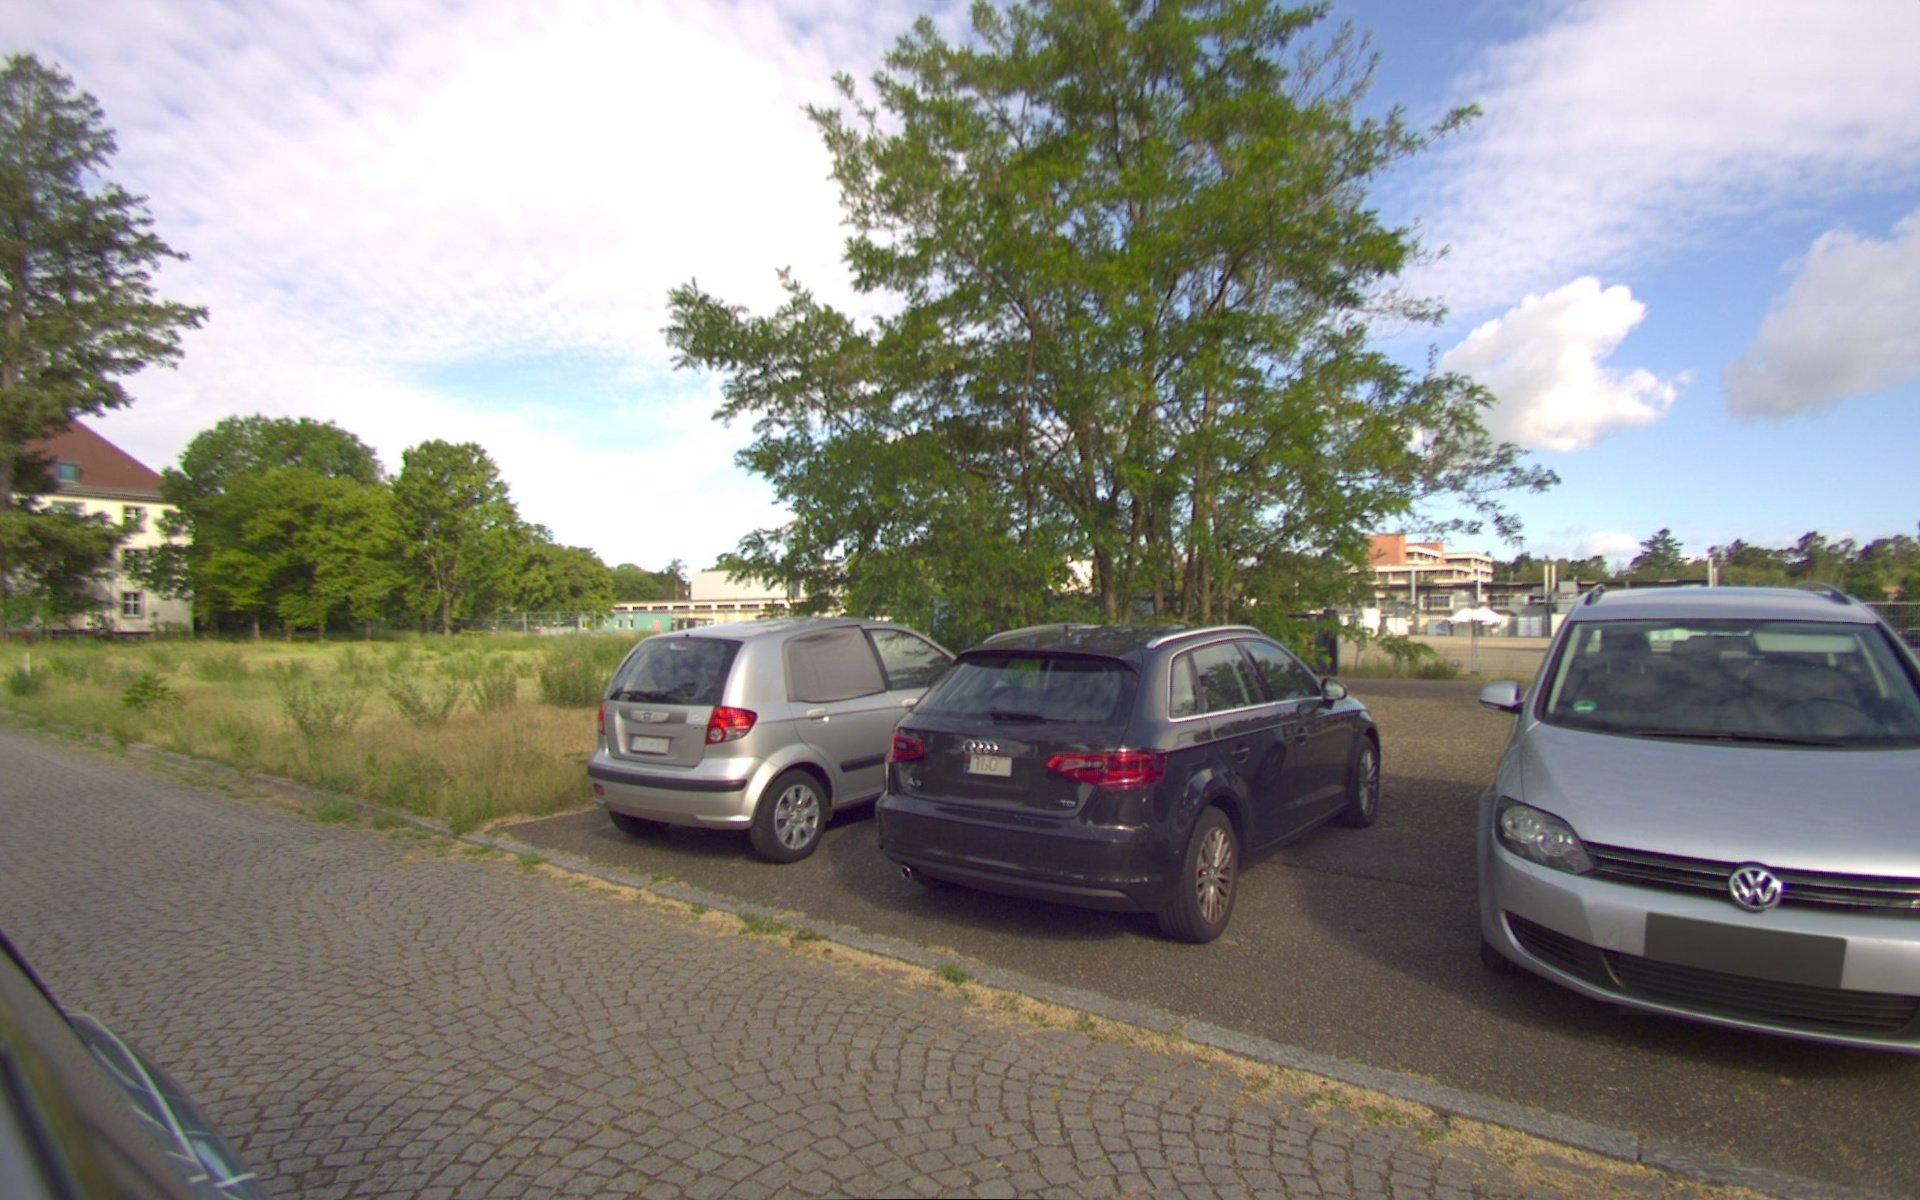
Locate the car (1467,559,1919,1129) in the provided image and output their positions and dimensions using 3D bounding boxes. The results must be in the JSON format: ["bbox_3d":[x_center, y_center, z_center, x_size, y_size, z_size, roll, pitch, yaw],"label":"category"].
[{"bbox_3d":[3.575,0.662,4.587,1.731,1.619,3.798,-1,0,35],"label":"car"}]

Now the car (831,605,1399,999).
[{"bbox_3d":[1.193,0.804,5.953,1.693,1.419,3.801,-1,1,37],"label":"car"}]

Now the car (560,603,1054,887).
[{"bbox_3d":[-0.906,0.825,7.570,1.643,1.487,3.546,-1,1,35],"label":"car"}]
